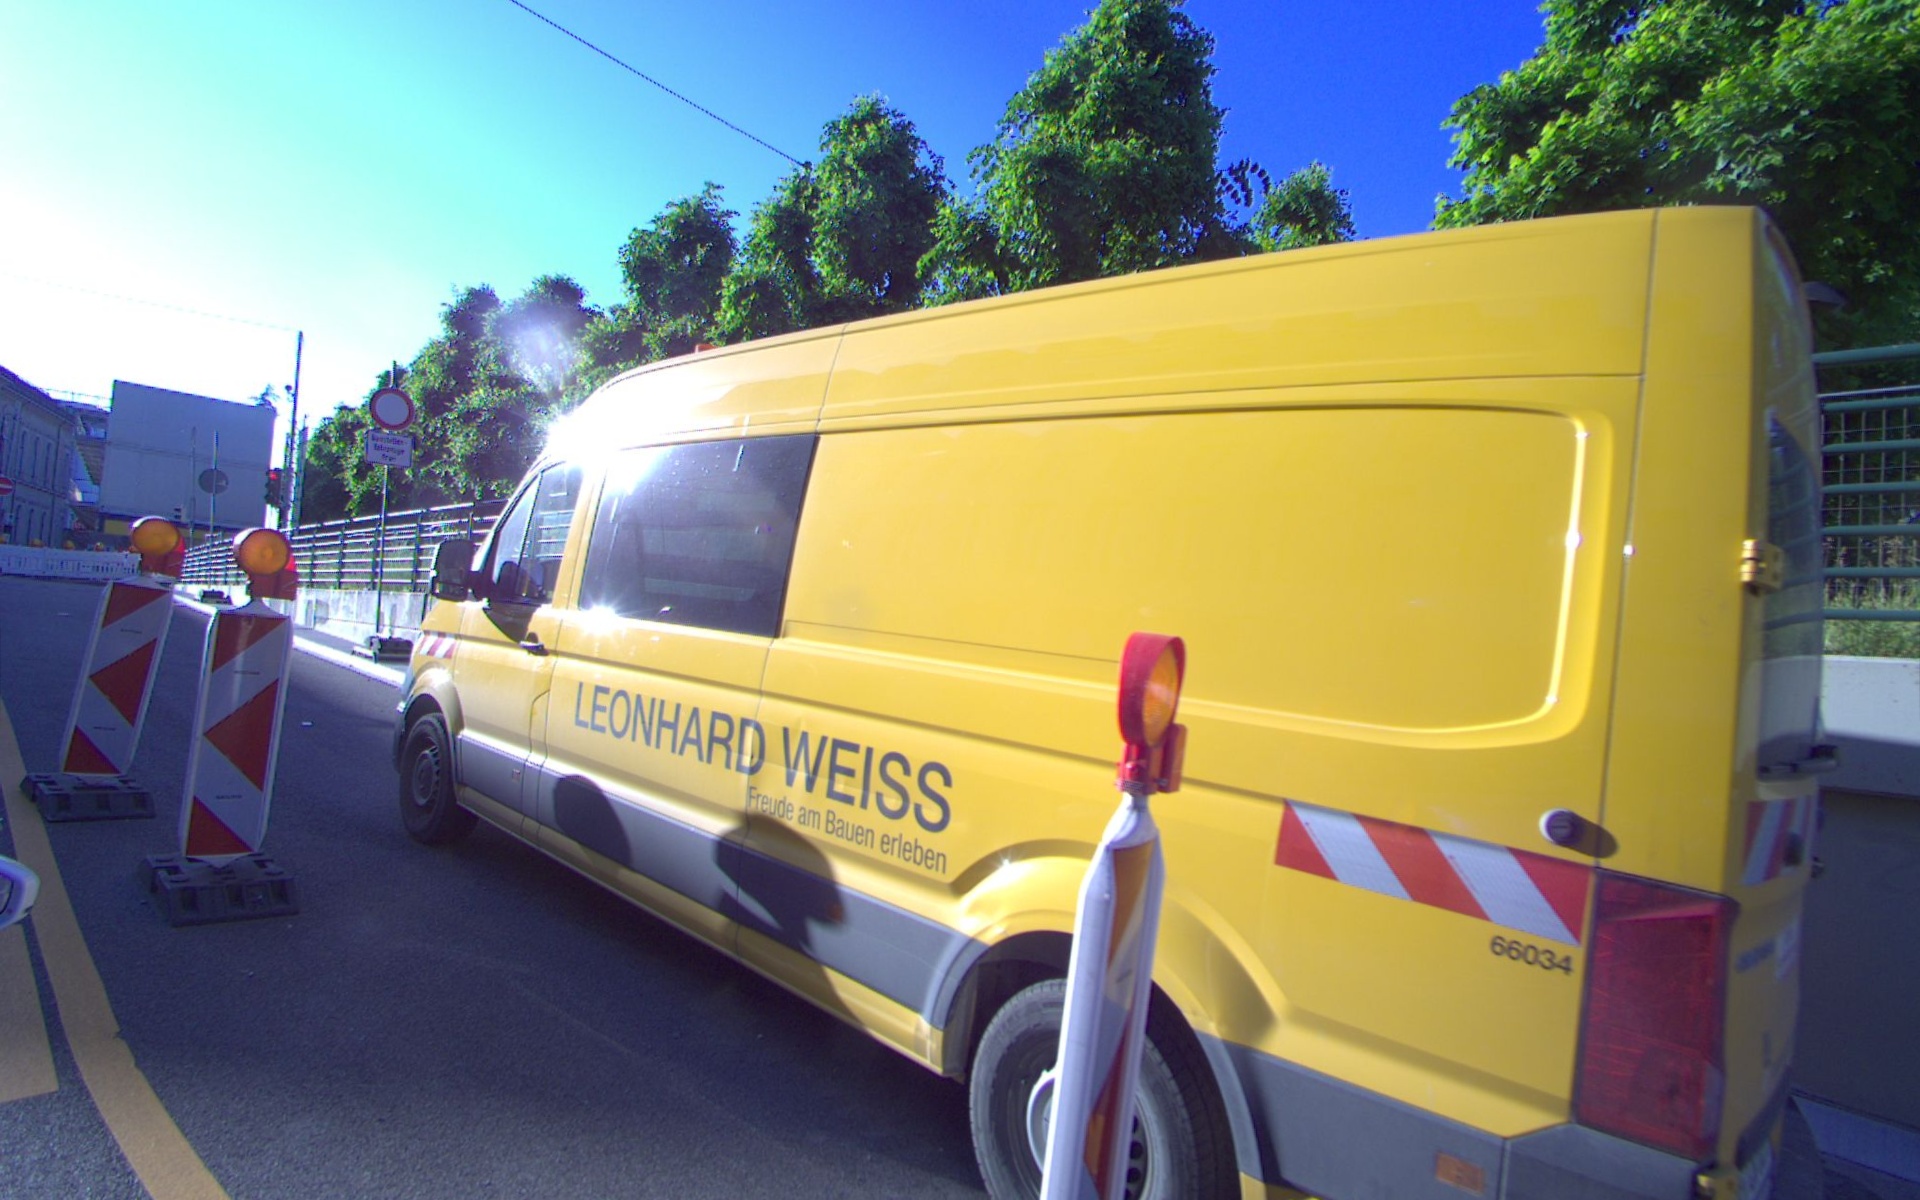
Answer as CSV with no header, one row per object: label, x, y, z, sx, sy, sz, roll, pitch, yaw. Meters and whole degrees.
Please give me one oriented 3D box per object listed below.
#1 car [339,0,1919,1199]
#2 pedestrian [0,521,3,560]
car,-0.430,0.229,4.513,6.894,2.656,2.108,5,-1,43
pedestrian,-32.992,-1.841,33.884,0.970,1.749,0.789,5,-2,-42
